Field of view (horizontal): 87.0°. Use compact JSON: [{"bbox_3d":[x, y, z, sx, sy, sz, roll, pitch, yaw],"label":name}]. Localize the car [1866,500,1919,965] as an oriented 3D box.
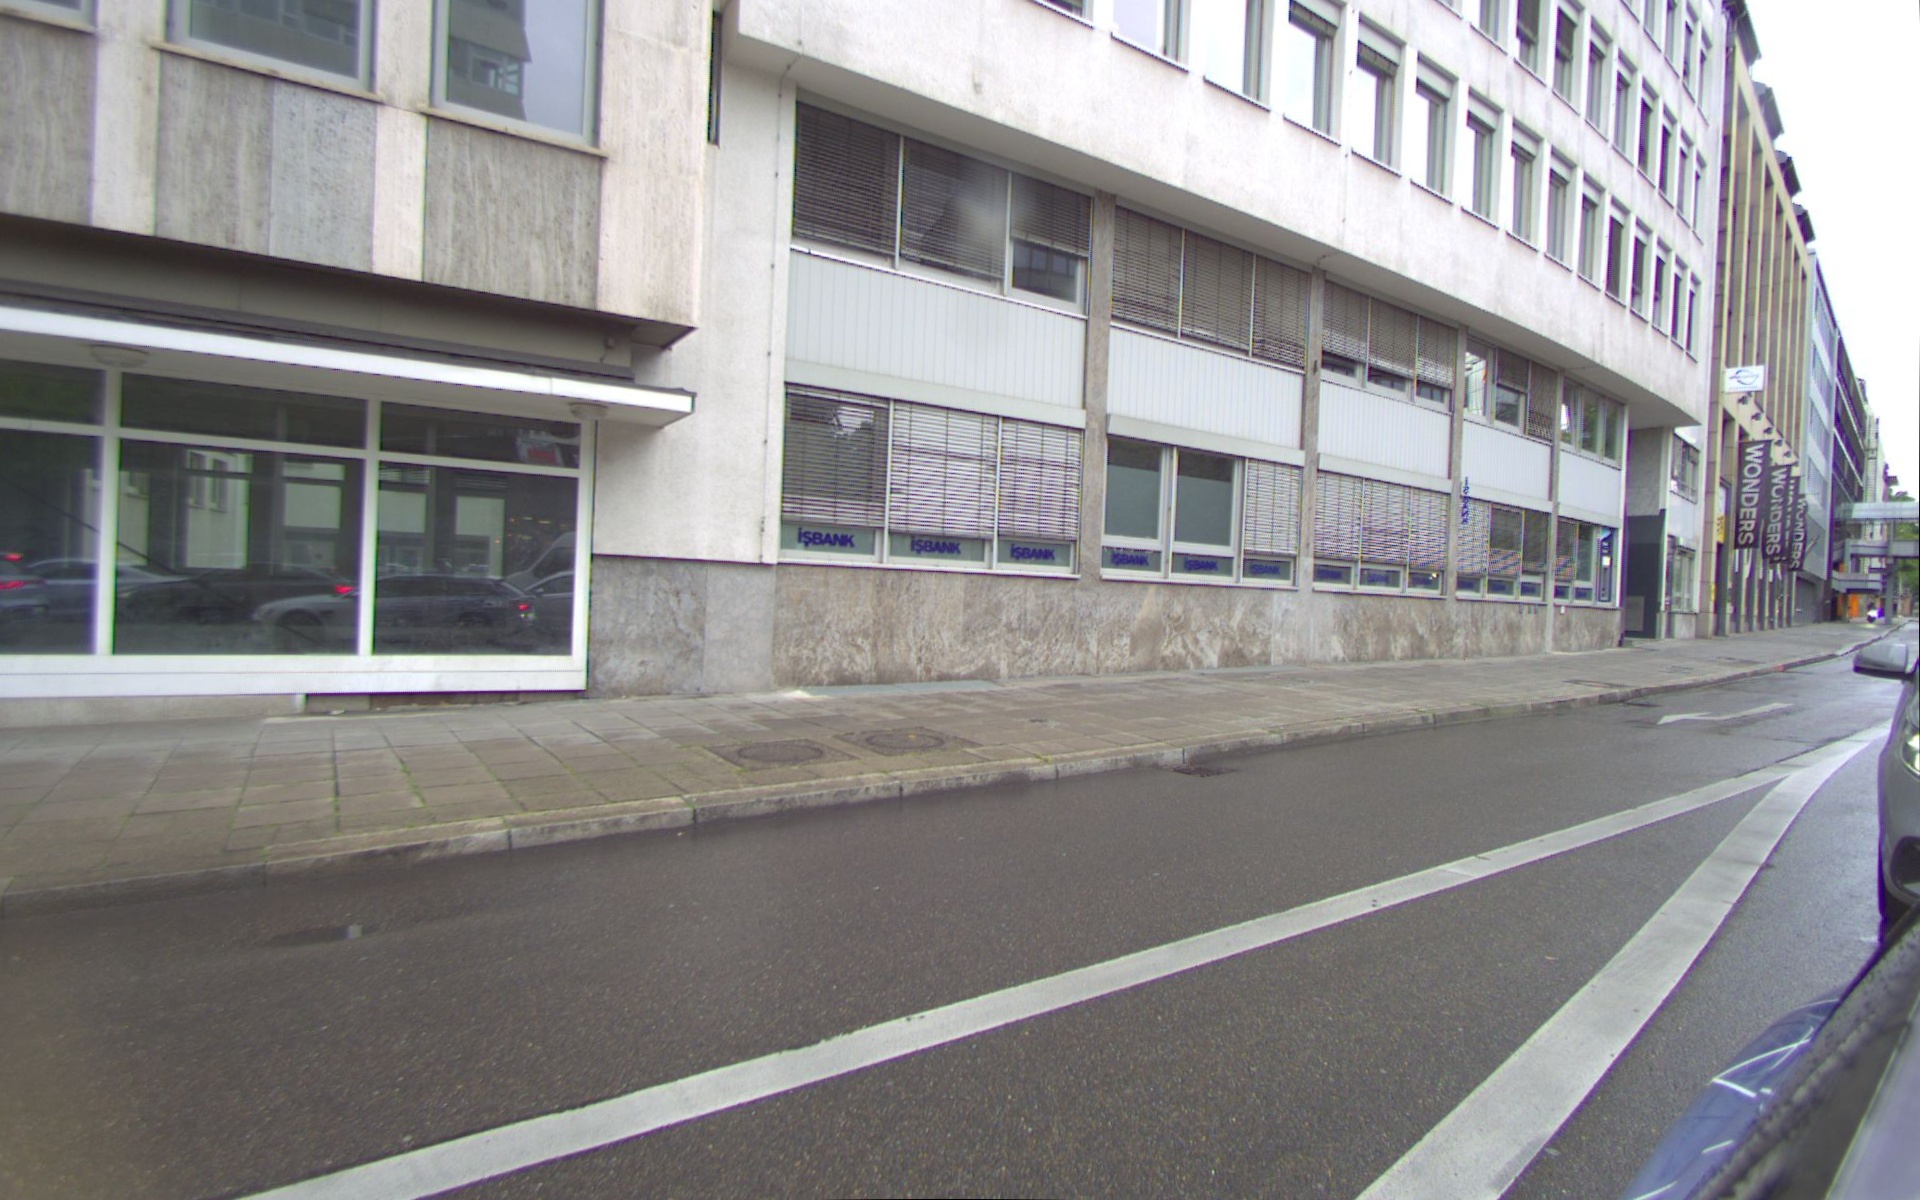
[{"bbox_3d":[6.233,0.549,5.153,4.940,1.879,1.914,0,0,-42],"label":"car"}]
